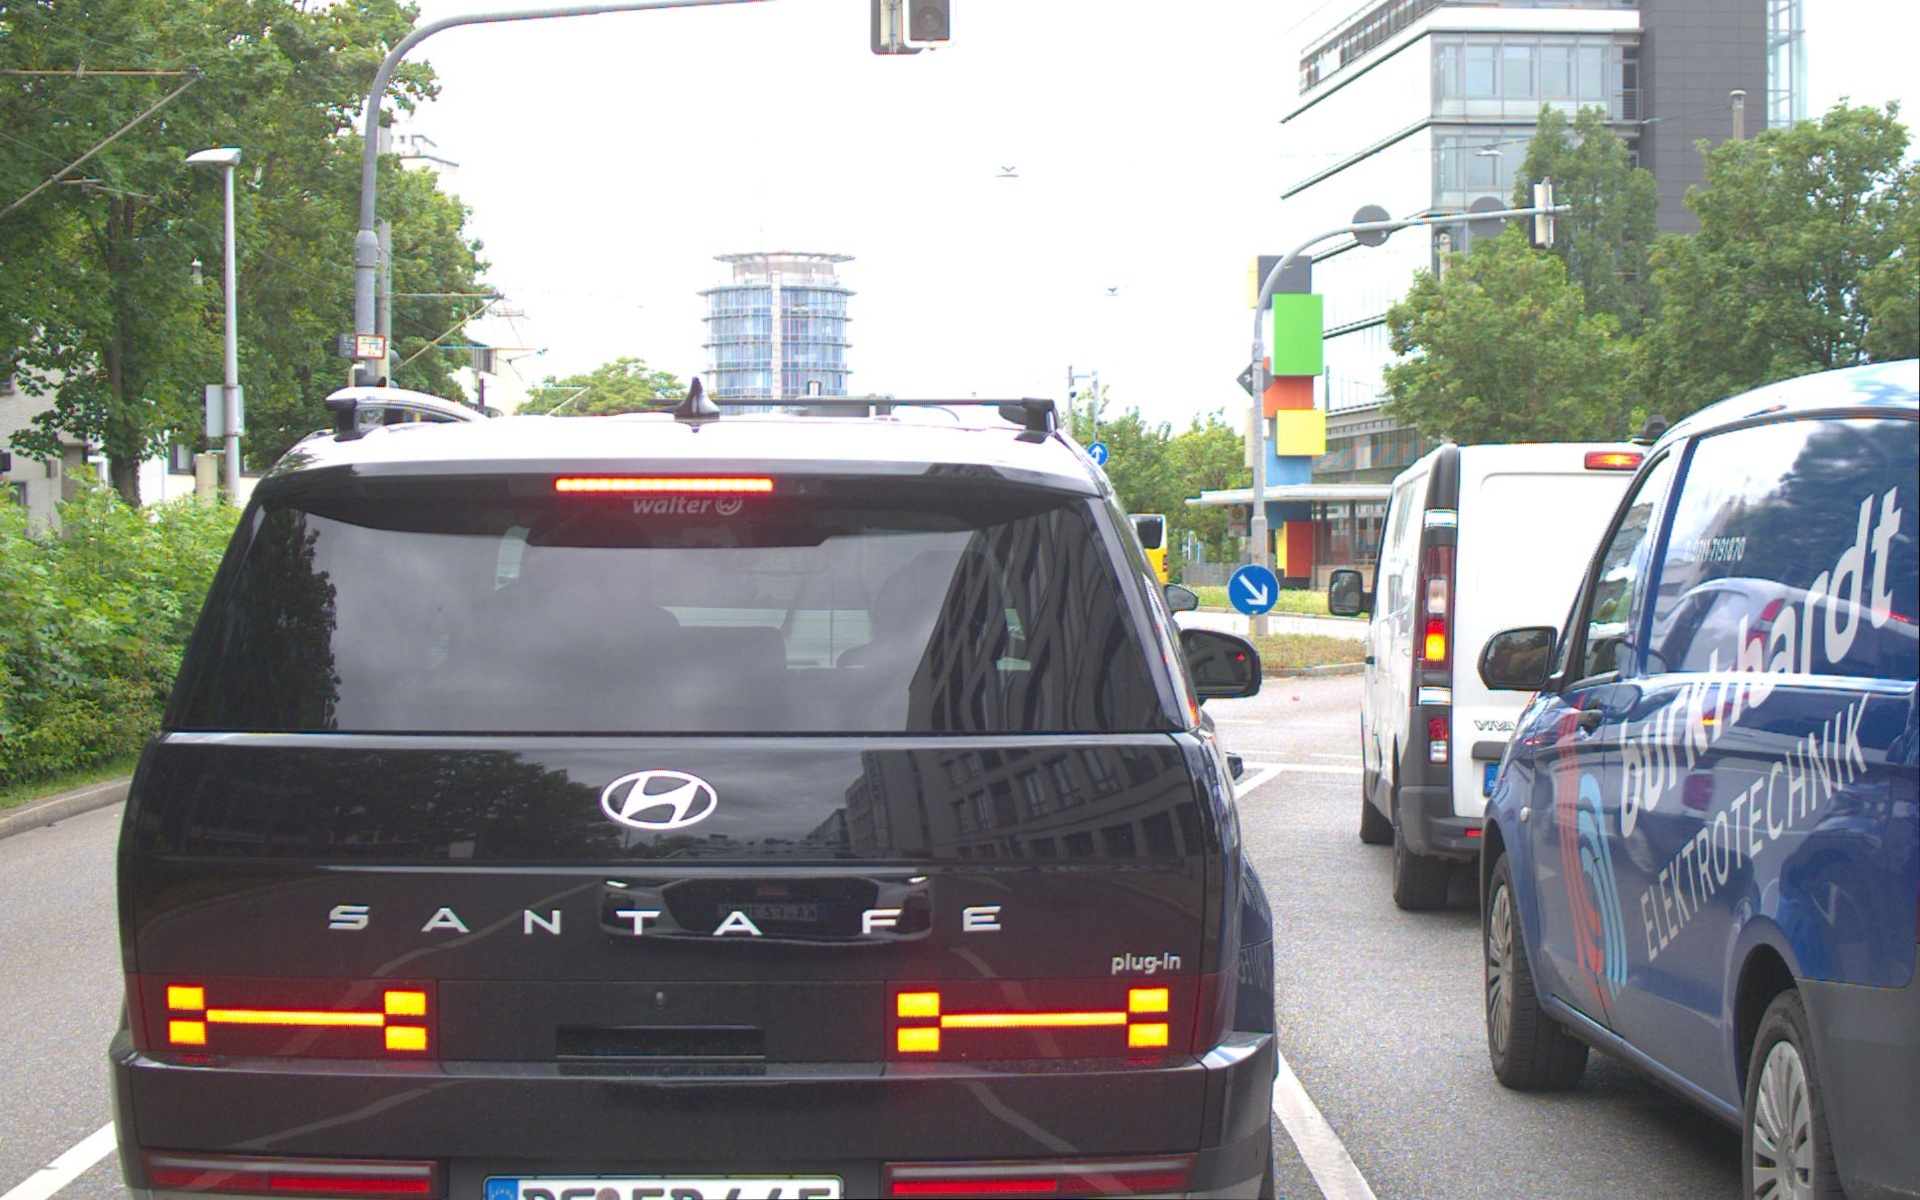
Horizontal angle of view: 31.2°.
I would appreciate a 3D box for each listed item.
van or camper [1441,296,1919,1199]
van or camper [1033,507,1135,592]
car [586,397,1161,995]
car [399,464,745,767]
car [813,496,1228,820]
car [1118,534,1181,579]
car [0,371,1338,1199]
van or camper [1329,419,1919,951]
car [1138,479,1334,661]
[{"bbox_3d":[2.390,0.437,7.727,1.859,1.904,5.032,0,1,-1],"label":"van or camper"},{"bbox_3d":[3.856,-1.528,105.612,1.994,2.538,6.575,1,0,12],"label":"van or camper"},{"bbox_3d":[-0.311,0.287,13.453,1.915,1.996,3.880,0,1,-1],"label":"car"},{"bbox_3d":[-2.696,0.082,24.974,1.993,1.941,4.737,-1,0,-1],"label":"car"},{"bbox_3d":[0.479,0.289,20.499,1.777,1.711,4.336,1,0,10],"label":"car"},{"bbox_3d":[7.250,-1.648,131.817,1.993,1.678,4.000,0,0,-3],"label":"car"},{"bbox_3d":[-0.435,0.533,6.656,1.869,1.754,3.880,0,1,-1],"label":"car"},{"bbox_3d":[2.801,0.280,15.417,1.994,2.007,4.652,1,1,3],"label":"van or camper"},{"bbox_3d":[3.170,-0.350,40.271,1.993,2.007,4.000,0,0,1],"label":"car"}]
